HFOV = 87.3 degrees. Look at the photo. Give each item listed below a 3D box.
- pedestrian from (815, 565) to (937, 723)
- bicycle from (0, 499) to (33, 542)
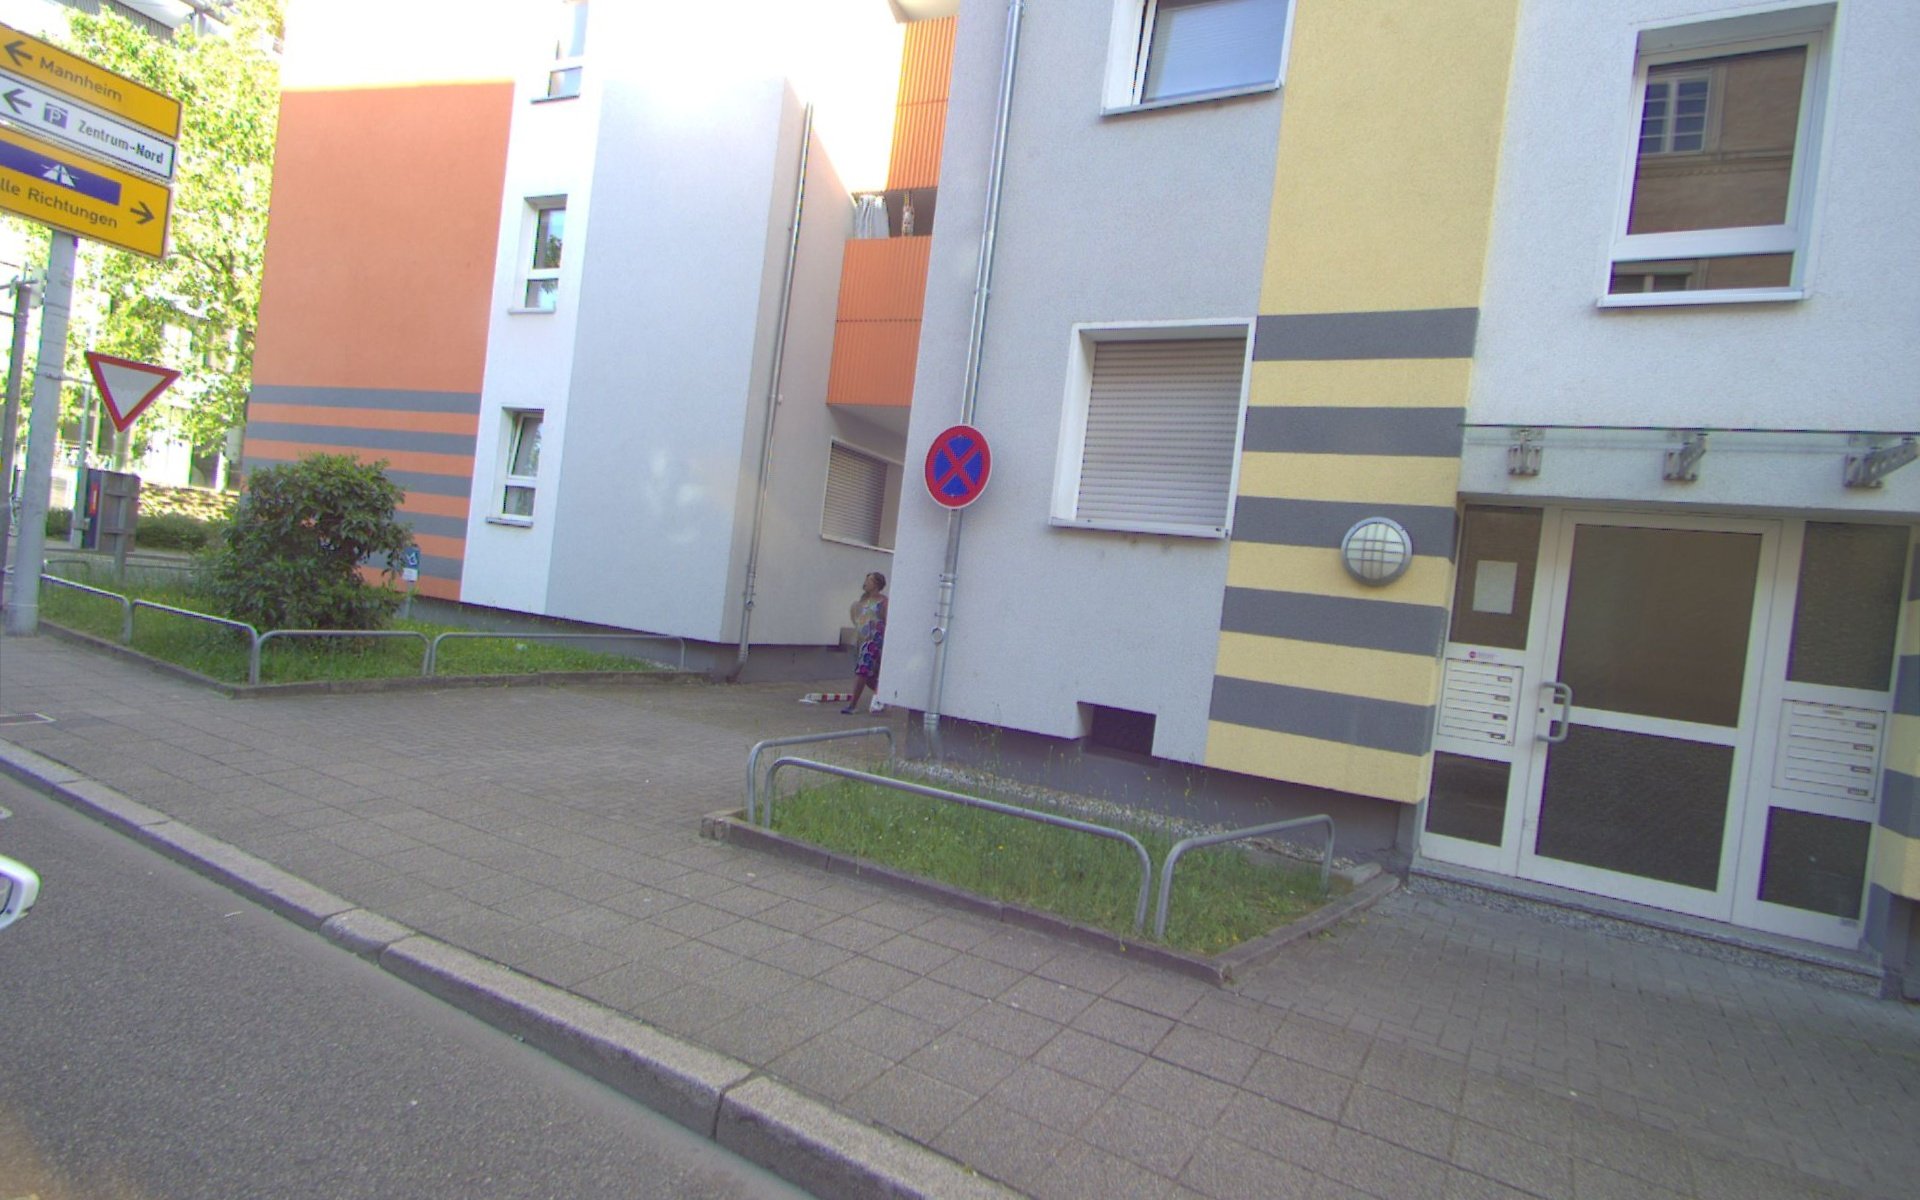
[{"bbox_3d":[-0.922,0.473,11.102,0.941,1.594,0.748,7,2,32],"label":"pedestrian"},{"bbox_3d":[-26.424,-2.239,27.280,1.883,1.062,0.463,7,1,-10],"label":"bicycle"}]
